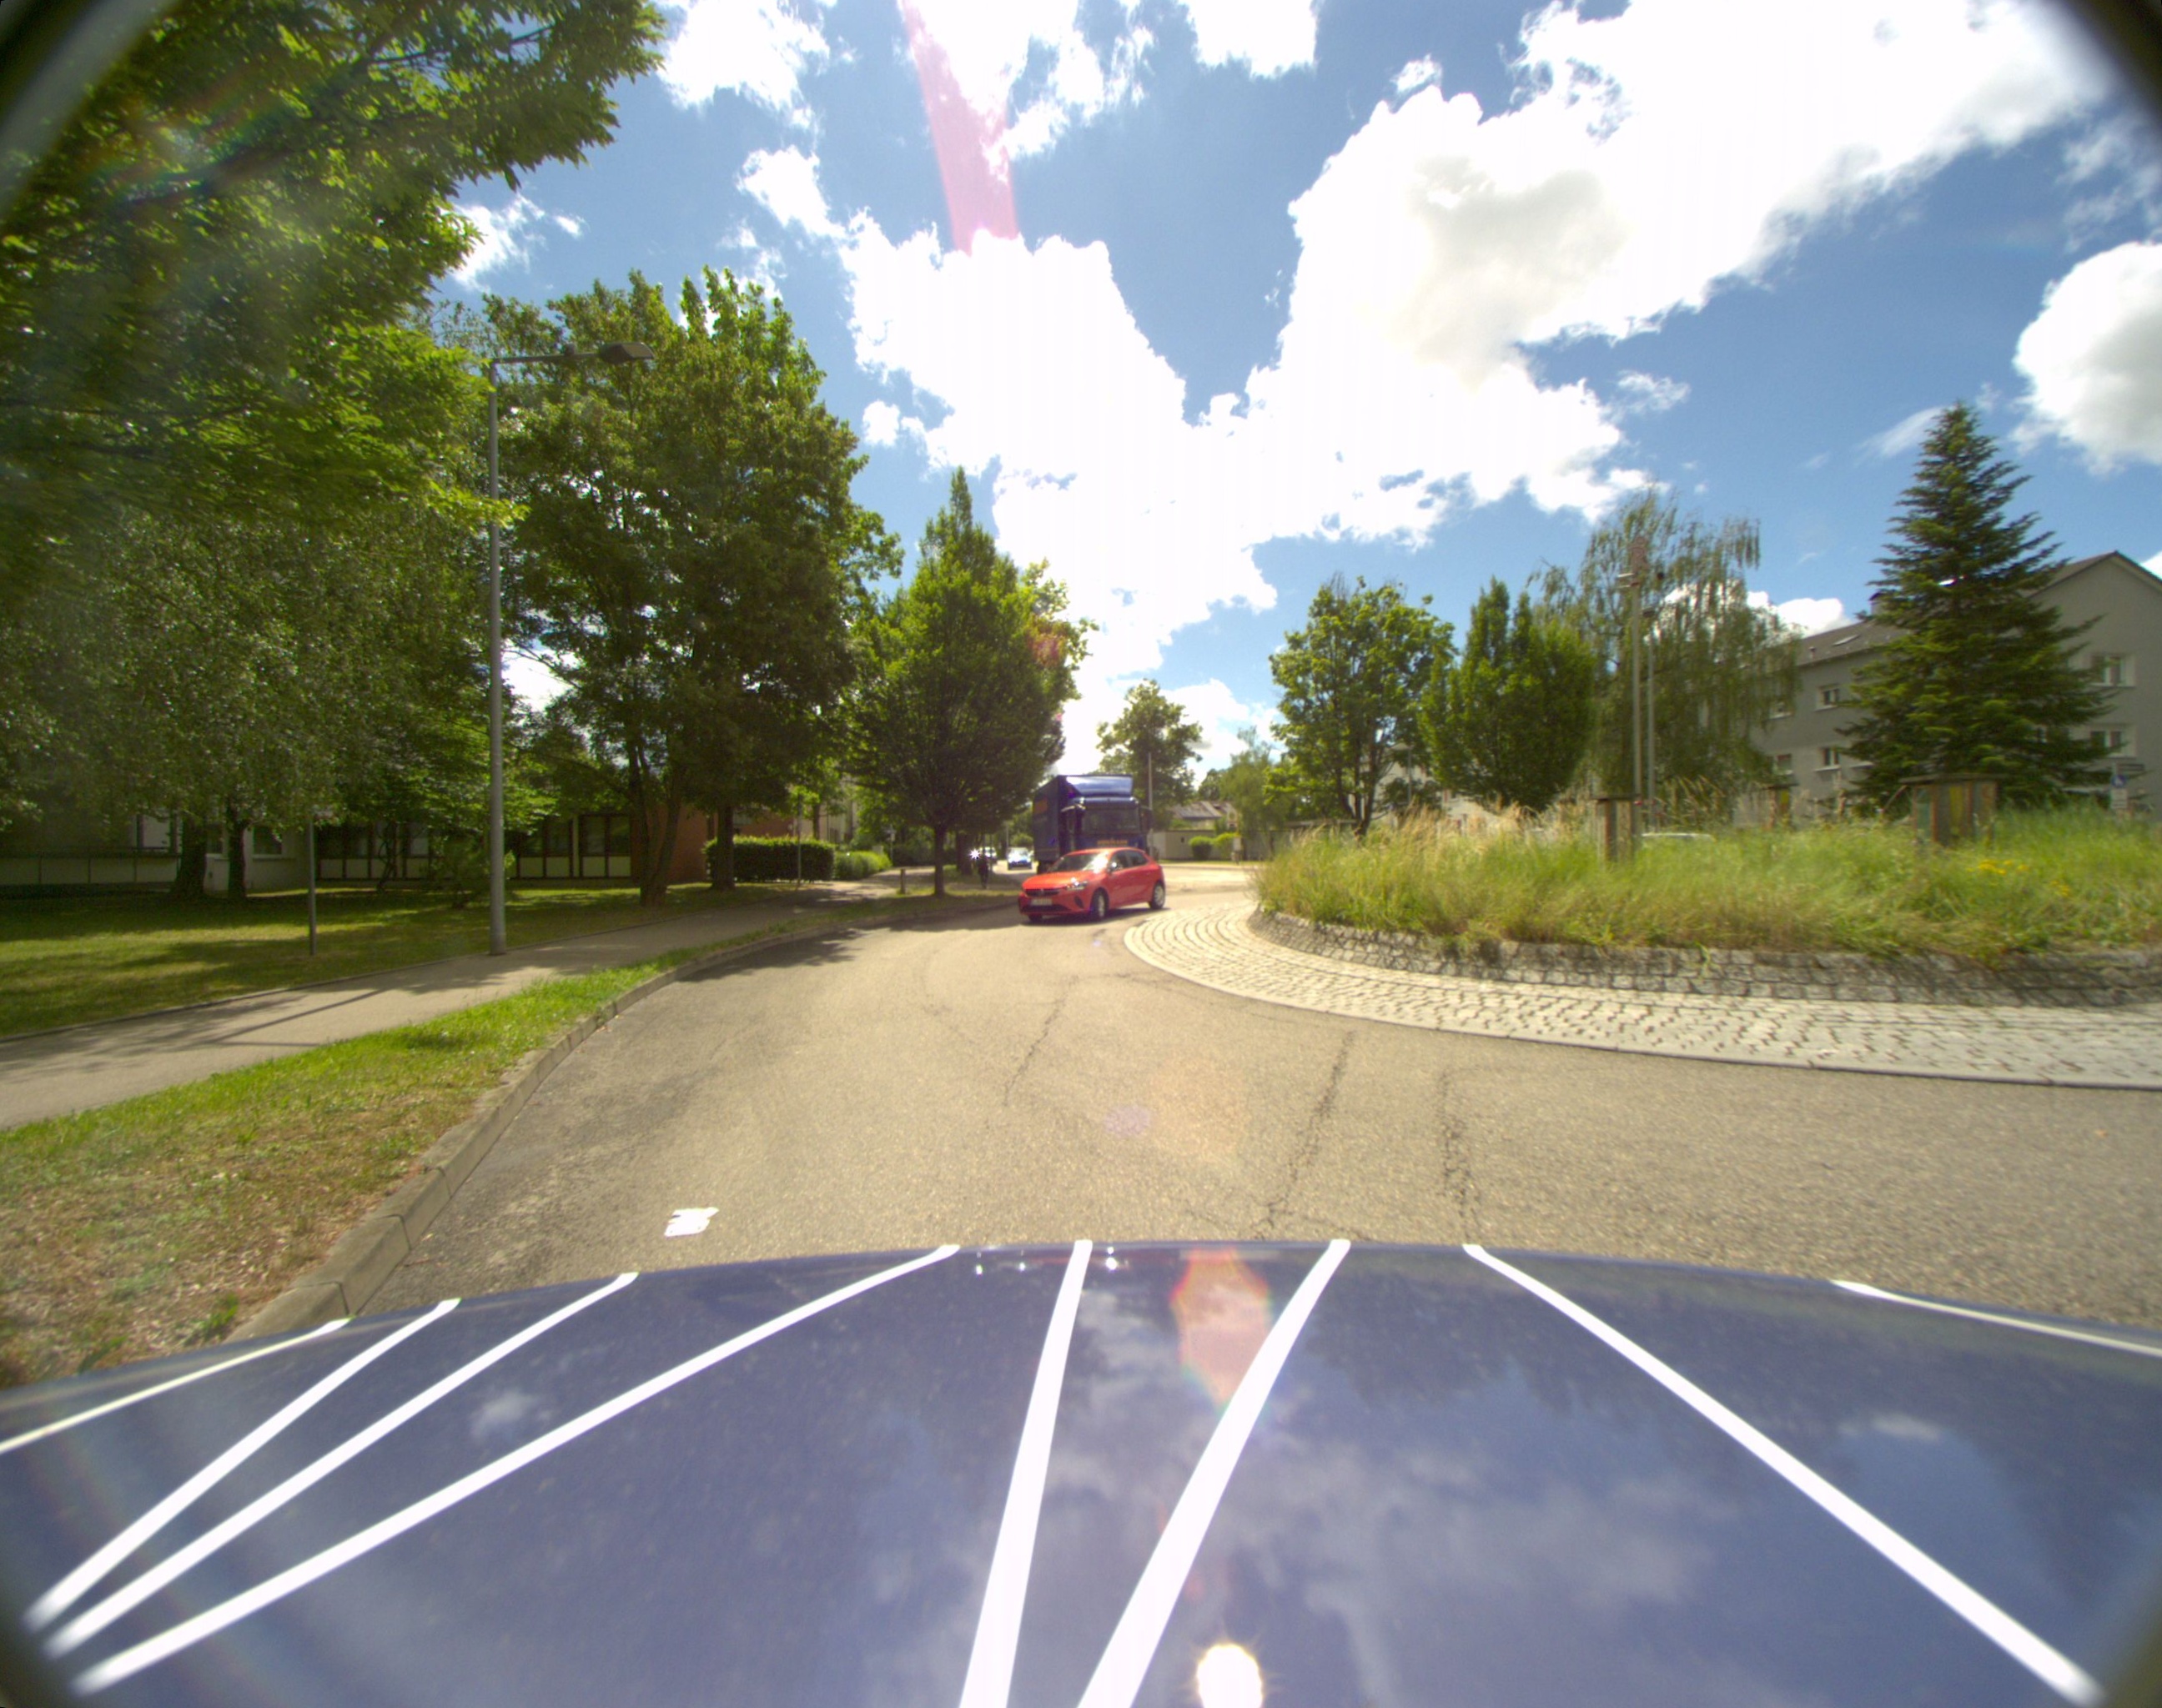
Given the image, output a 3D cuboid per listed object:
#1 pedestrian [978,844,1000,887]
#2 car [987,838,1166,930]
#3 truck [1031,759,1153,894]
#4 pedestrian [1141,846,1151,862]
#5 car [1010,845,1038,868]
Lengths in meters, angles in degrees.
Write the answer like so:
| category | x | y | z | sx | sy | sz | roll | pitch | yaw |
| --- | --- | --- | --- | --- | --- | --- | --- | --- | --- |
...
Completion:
| category | x | y | z | sx | sy | sz | roll | pitch | yaw |
| --- | --- | --- | --- | --- | --- | --- | --- | --- | --- |
| pedestrian | -3.509 | 0.429 | 29.086 | 0.720 | 1.571 | 0.840 | -1 | 3 | -3 |
| car | 0.052 | 0.556 | 15.942 | 1.763 | 1.549 | 4.006 | -4 | 1 | 32 |
| truck | 0.046 | -0.808 | 28.348 | 2.790 | 4.128 | 9.790 | -1 | 0 | -9 |
| pedestrian | 6.203 | 0.004 | 72.537 | 0.903 | 1.573 | 0.660 | -1 | 2 | -4 |
| car | -4.294 | 0.202 | 56.734 | 1.999 | 1.666 | 3.999 | 0 | -1 | -5 |
